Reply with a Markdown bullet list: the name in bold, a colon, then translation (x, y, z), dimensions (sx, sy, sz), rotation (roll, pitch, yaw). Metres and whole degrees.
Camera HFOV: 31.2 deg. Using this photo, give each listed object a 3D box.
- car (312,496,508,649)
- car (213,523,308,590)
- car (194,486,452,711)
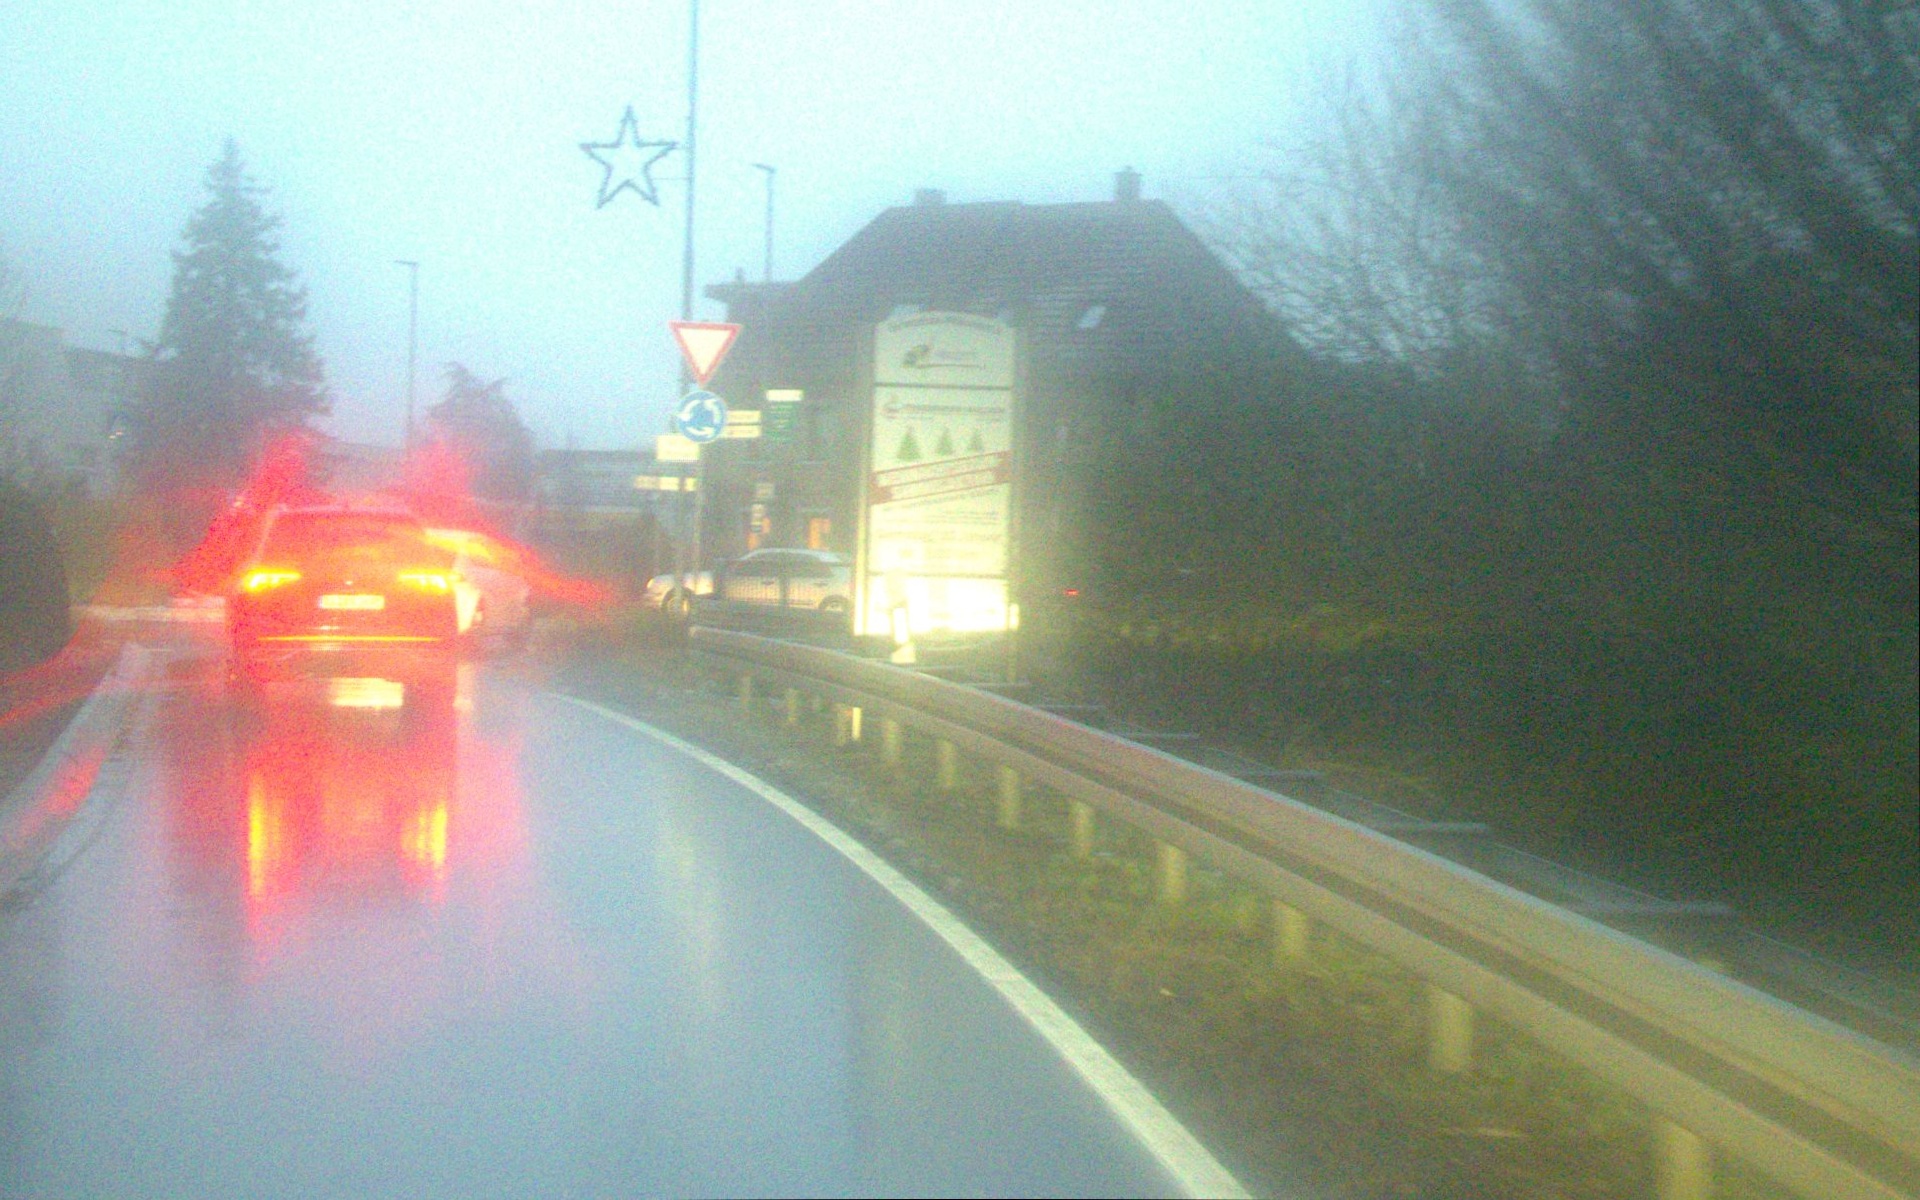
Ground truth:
- **car**: translation (-6.779, -0.384, 42.018), dimensions (2.163, 1.683, 4.573), rotation (1, 2, -11)
- **car**: translation (-16.629, -1.020, 81.589), dimensions (1.772, 1.539, 4.001), rotation (1, 0, -18)
- **car**: translation (-5.343, -0.040, 29.030), dimensions (1.944, 1.712, 4.001), rotation (2, 1, -10)
